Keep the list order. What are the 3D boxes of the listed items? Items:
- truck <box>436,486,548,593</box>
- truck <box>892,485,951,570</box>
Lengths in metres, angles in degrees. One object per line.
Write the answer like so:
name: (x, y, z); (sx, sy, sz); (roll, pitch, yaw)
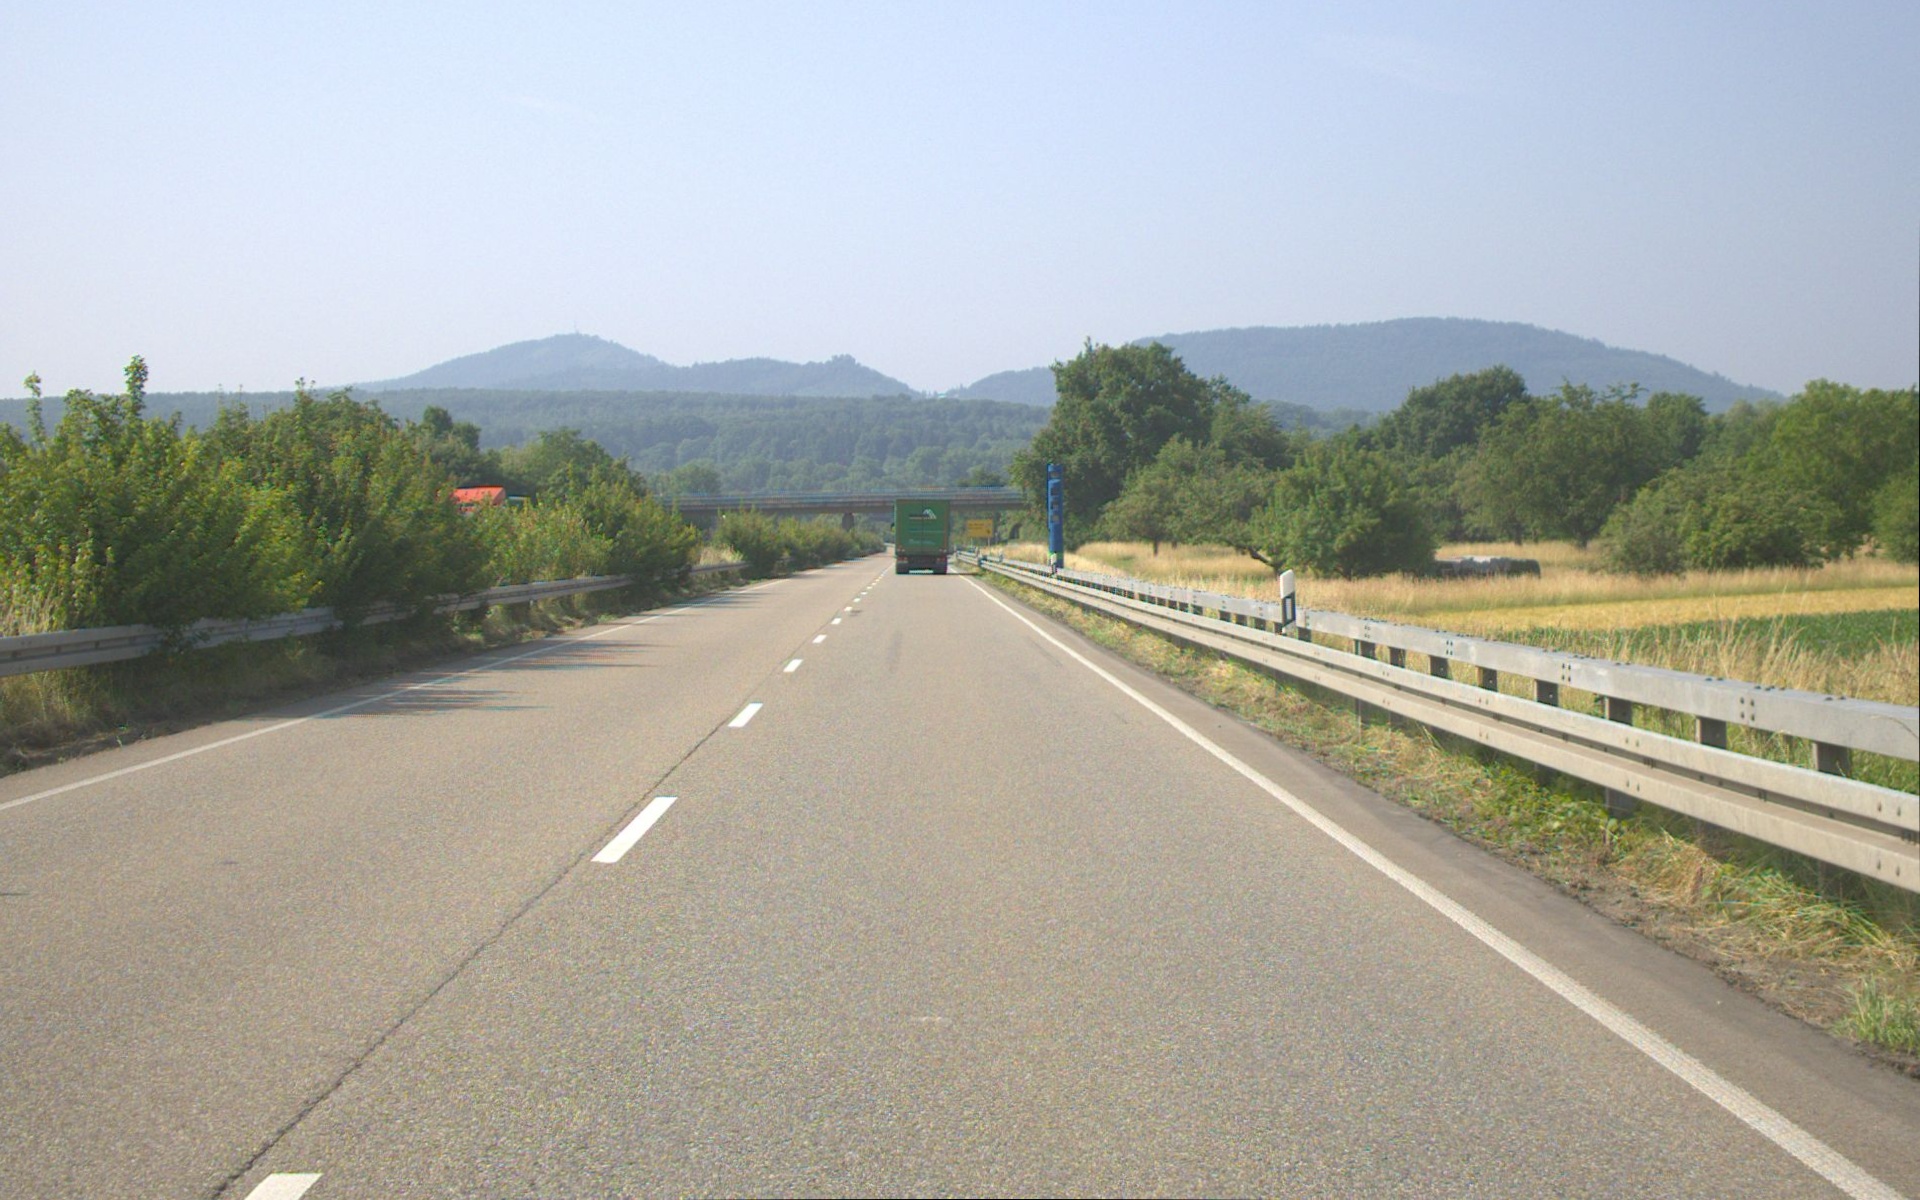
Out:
truck: (-16.277, -2.101, 120.164); (2.602, 3.576, 10.386); (0, 1, -1)
truck: (-1.834, -3.592, 167.929); (2.722, 3.952, 10.417); (1, 2, 0)
